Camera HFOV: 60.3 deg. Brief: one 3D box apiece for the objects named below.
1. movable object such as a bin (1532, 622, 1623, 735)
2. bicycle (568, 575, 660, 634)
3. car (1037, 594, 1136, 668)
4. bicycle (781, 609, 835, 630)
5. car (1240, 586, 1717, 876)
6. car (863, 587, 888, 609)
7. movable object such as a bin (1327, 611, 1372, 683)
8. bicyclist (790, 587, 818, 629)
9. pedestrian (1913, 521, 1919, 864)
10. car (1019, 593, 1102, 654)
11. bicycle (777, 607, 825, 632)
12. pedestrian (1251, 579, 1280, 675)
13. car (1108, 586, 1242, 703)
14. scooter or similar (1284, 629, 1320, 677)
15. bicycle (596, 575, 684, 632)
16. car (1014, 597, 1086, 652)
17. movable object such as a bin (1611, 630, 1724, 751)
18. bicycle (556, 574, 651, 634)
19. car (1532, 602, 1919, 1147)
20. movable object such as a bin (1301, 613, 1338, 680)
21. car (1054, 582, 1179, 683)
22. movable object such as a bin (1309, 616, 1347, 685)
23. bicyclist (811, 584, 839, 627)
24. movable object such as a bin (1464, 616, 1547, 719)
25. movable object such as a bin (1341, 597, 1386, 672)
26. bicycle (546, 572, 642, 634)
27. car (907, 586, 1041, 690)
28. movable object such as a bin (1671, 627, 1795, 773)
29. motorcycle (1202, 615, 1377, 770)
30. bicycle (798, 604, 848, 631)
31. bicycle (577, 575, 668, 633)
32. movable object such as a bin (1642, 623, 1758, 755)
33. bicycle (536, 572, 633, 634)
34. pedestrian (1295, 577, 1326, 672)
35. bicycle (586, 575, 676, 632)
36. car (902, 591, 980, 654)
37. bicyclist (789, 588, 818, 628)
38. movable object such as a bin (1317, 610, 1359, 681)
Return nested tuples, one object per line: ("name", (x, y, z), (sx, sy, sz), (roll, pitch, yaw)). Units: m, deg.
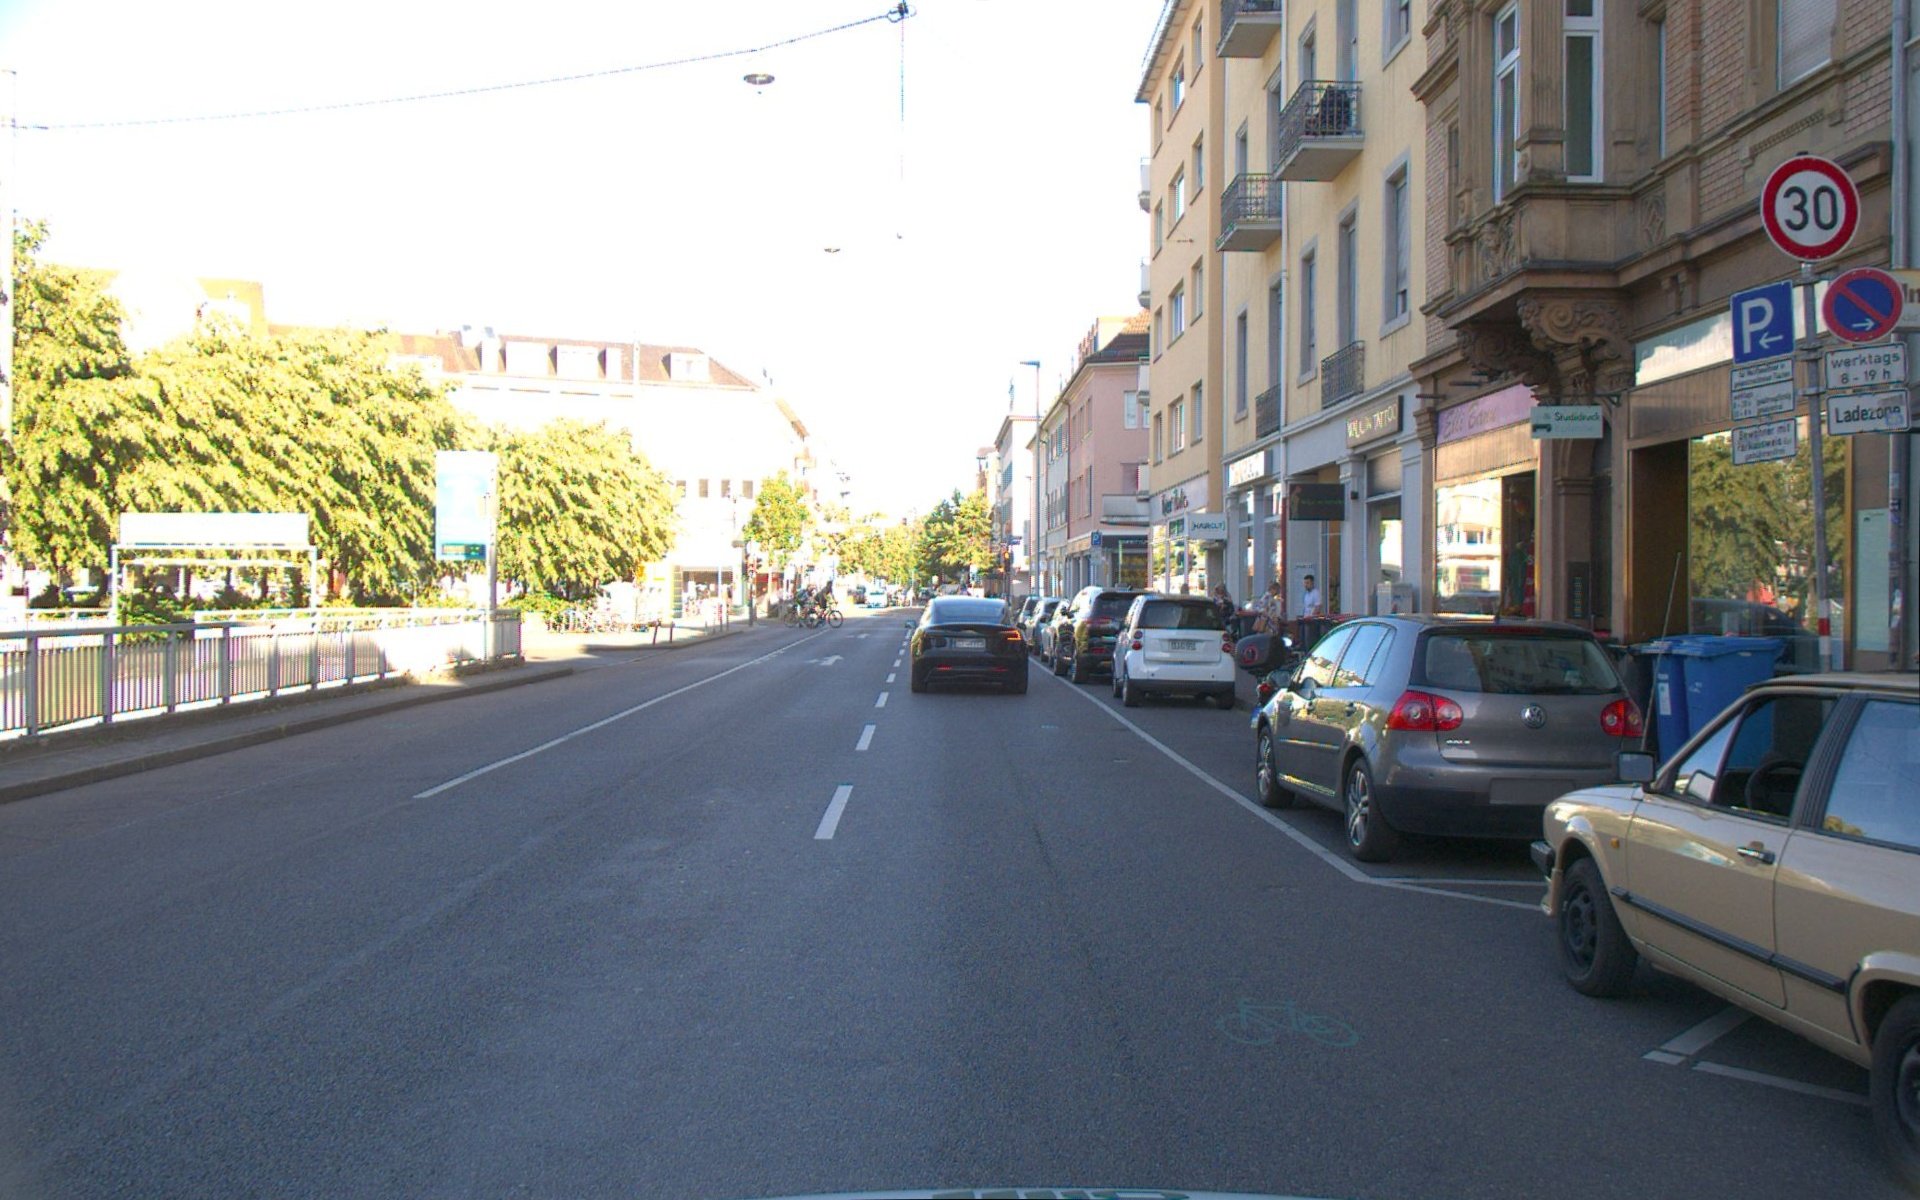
("movable object such as a bin", (6.161, 0.772, 16.518), (0.631, 1.070, 0.631), (-2, 0, -2))
("bicycle", (-12.209, 0.157, 58.411), (3.055, 2.049, 0.909), (0, 0, 8))
("car", (2.720, 0.684, 36.288), (1.756, 1.485, 4.083), (1, -1, -1))
("bicycle", (-6.551, 0.848, 71.182), (2.197, 0.898, 0.924), (0, 0, 2))
("car", (3.240, 0.719, 11.292), (1.802, 1.573, 4.227), (1, 0, -2))
("car", (-7.391, -0.177, 144.916), (1.953, 1.803, 4.000), (1, 1, 0))
("movable object such as a bin", (5.914, 0.709, 25.146), (0.485, 1.070, 0.631), (-2, 0, -2))
("bicyclist", (-6.477, 0.337, 68.650), (1.123, 1.715, 0.818), (0, 0, -5))
("pedestrian", (5.331, 0.486, 8.468), (0.607, 1.797, 0.518), (0, 0, 1))
("car", (2.579, 0.612, 43.190), (1.756, 1.485, 3.866), (1, -1, -2))
("bicycle", (-6.585, 0.799, 68.639), (1.972, 1.040, 0.761), (0, 0, -5))
("pedestrian", (5.343, 0.461, 28.931), (0.460, 1.664, 0.513), (0, 0, 15))
("car", (3.097, 0.608, 24.277), (1.580, 1.573, 2.855), (1, 0, 0))
("scooter or similar", (5.925, 0.917, 28.643), (0.566, 0.793, 0.467), (-2, -1, 15))
("bicycle", (-11.899, 0.124, 61.582), (3.055, 2.049, 0.909), (0, 0, 8))
("car", (2.529, 0.713, 47.338), (1.756, 1.485, 3.867), (1, -1, -1))
("movable object such as a bin", (6.224, 0.786, 14.577), (0.709, 1.018, 0.592), (-2, 0, -2))
("bicycle", (-12.356, 0.126, 57.363), (3.055, 2.049, 0.909), (0, 0, 8))
("car", (3.425, 0.778, 5.600), (1.576, 1.474, 3.829), (1, 0, -1))
("movable object such as a bin", (5.841, 0.751, 26.886), (0.446, 1.070, 0.499), (-2, 0, -2))
("car", (2.776, 0.591, 30.101), (1.682, 1.664, 4.081), (1, -1, -3))
("movable object such as a bin", (5.867, 0.805, 26.380), (0.469, 1.070, 0.467), (-2, 0, -2))
("bicyclist", (-5.388, 0.217, 65.981), (1.123, 1.715, 0.918), (0, 0, -5))
("movable object such as a bin", (6.048, 0.736, 18.364), (0.631, 1.095, 0.819), (-2, 0, 0))
("movable object such as a bin", (5.957, 0.505, 24.420), (0.469, 1.070, 0.631), (-2, 0, -2))
("bicycle", (-12.476, 0.096, 56.369), (3.055, 2.049, 0.909), (0, 0, 8))
("car", (0.140, 0.603, 26.829), (1.955, 1.506, 4.493), (1, -1, -2))
("movable object such as a bin", (6.177, 0.787, 13.240), (0.666, 1.115, 0.626), (-2, 0, -2))
("motorcycle", (3.112, 0.817, 15.478), (0.645, 1.351, 2.031), (0, 0, 43))
("bicycle", (-5.450, 0.697, 65.971), (1.972, 1.040, 0.887), (0, 0, -5))
("bicycle", (-12.129, 0.140, 59.496), (3.055, 2.049, 0.909), (0, 0, 8))
("movable object such as a bin", (6.231, 0.738, 13.951), (0.666, 1.061, 0.626), (-2, 0, -2))
("bicycle", (-12.572, 0.104, 55.410), (3.055, 2.049, 0.909), (0, 0, 8))
("pedestrian", (6.202, 0.422, 29.294), (0.460, 1.664, 0.513), (0, 0, 4))
("bicycle", (-12.035, 0.123, 60.536), (3.055, 2.049, 0.909), (0, 0, 8))
("car", (-0.449, 0.551, 42.750), (1.895, 1.513, 4.271), (0, 0, 1))
("bicyclist", (-6.740, 0.352, 71.204), (1.122, 1.715, 0.915), (0, 0, 2))
("movable object such as a bin", (5.895, 0.702, 25.797), (0.469, 1.070, 0.631), (-2, 0, -2))
